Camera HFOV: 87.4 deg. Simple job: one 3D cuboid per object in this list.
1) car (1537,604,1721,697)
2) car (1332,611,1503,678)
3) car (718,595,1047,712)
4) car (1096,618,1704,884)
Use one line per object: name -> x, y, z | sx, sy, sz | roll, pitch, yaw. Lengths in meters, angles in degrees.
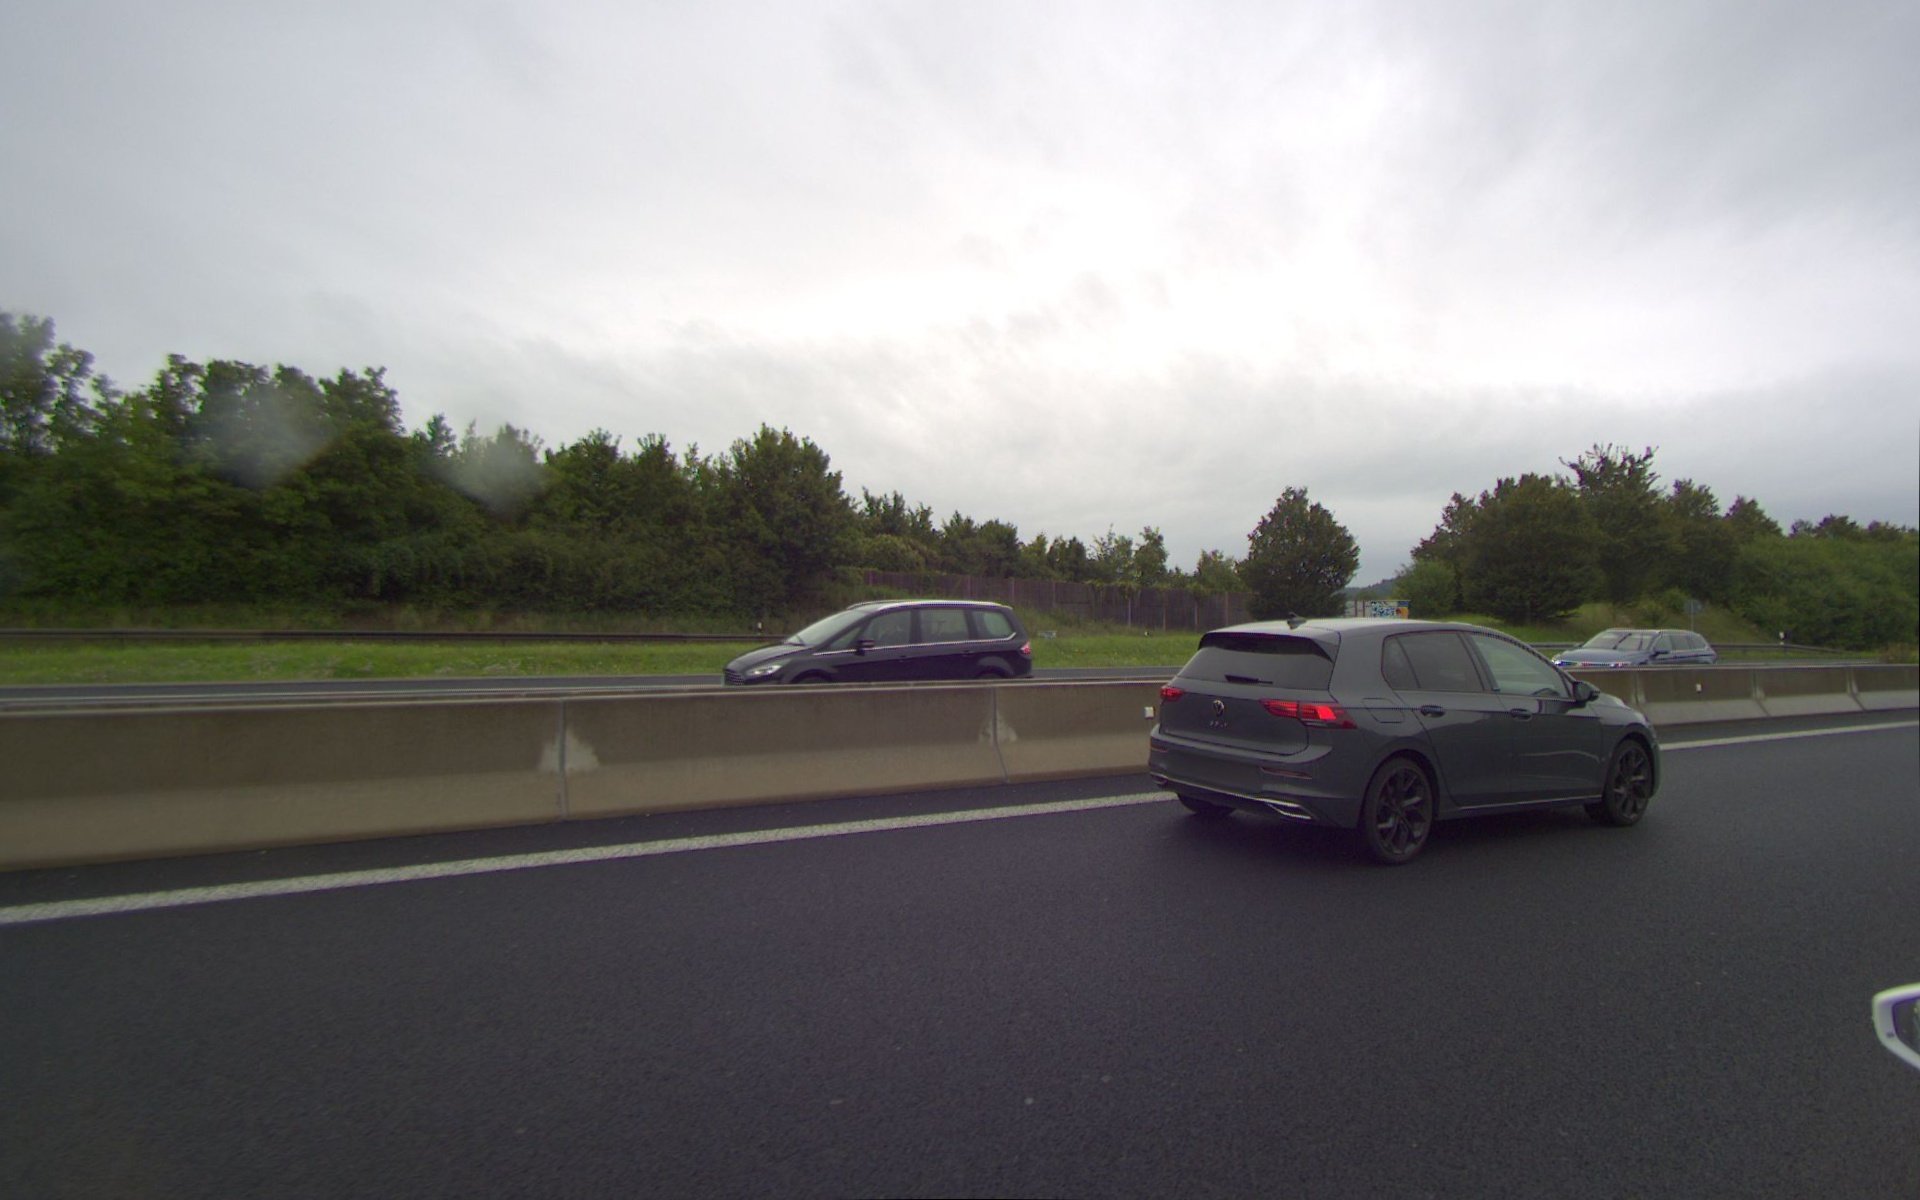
car -> 15.449, 1.122, 23.178 | 4.126, 1.927, 1.983 | 2, 0, -32
car -> 12.140, 1.129, 26.601 | 4.369, 1.636, 1.973 | 1, -1, -30
car -> -1.121, 0.743, 15.172 | 4.583, 1.526, 1.973 | 1, -1, -30
car -> 3.333, 0.869, 7.399 | 4.406, 1.424, 1.891 | 1, -1, -30
